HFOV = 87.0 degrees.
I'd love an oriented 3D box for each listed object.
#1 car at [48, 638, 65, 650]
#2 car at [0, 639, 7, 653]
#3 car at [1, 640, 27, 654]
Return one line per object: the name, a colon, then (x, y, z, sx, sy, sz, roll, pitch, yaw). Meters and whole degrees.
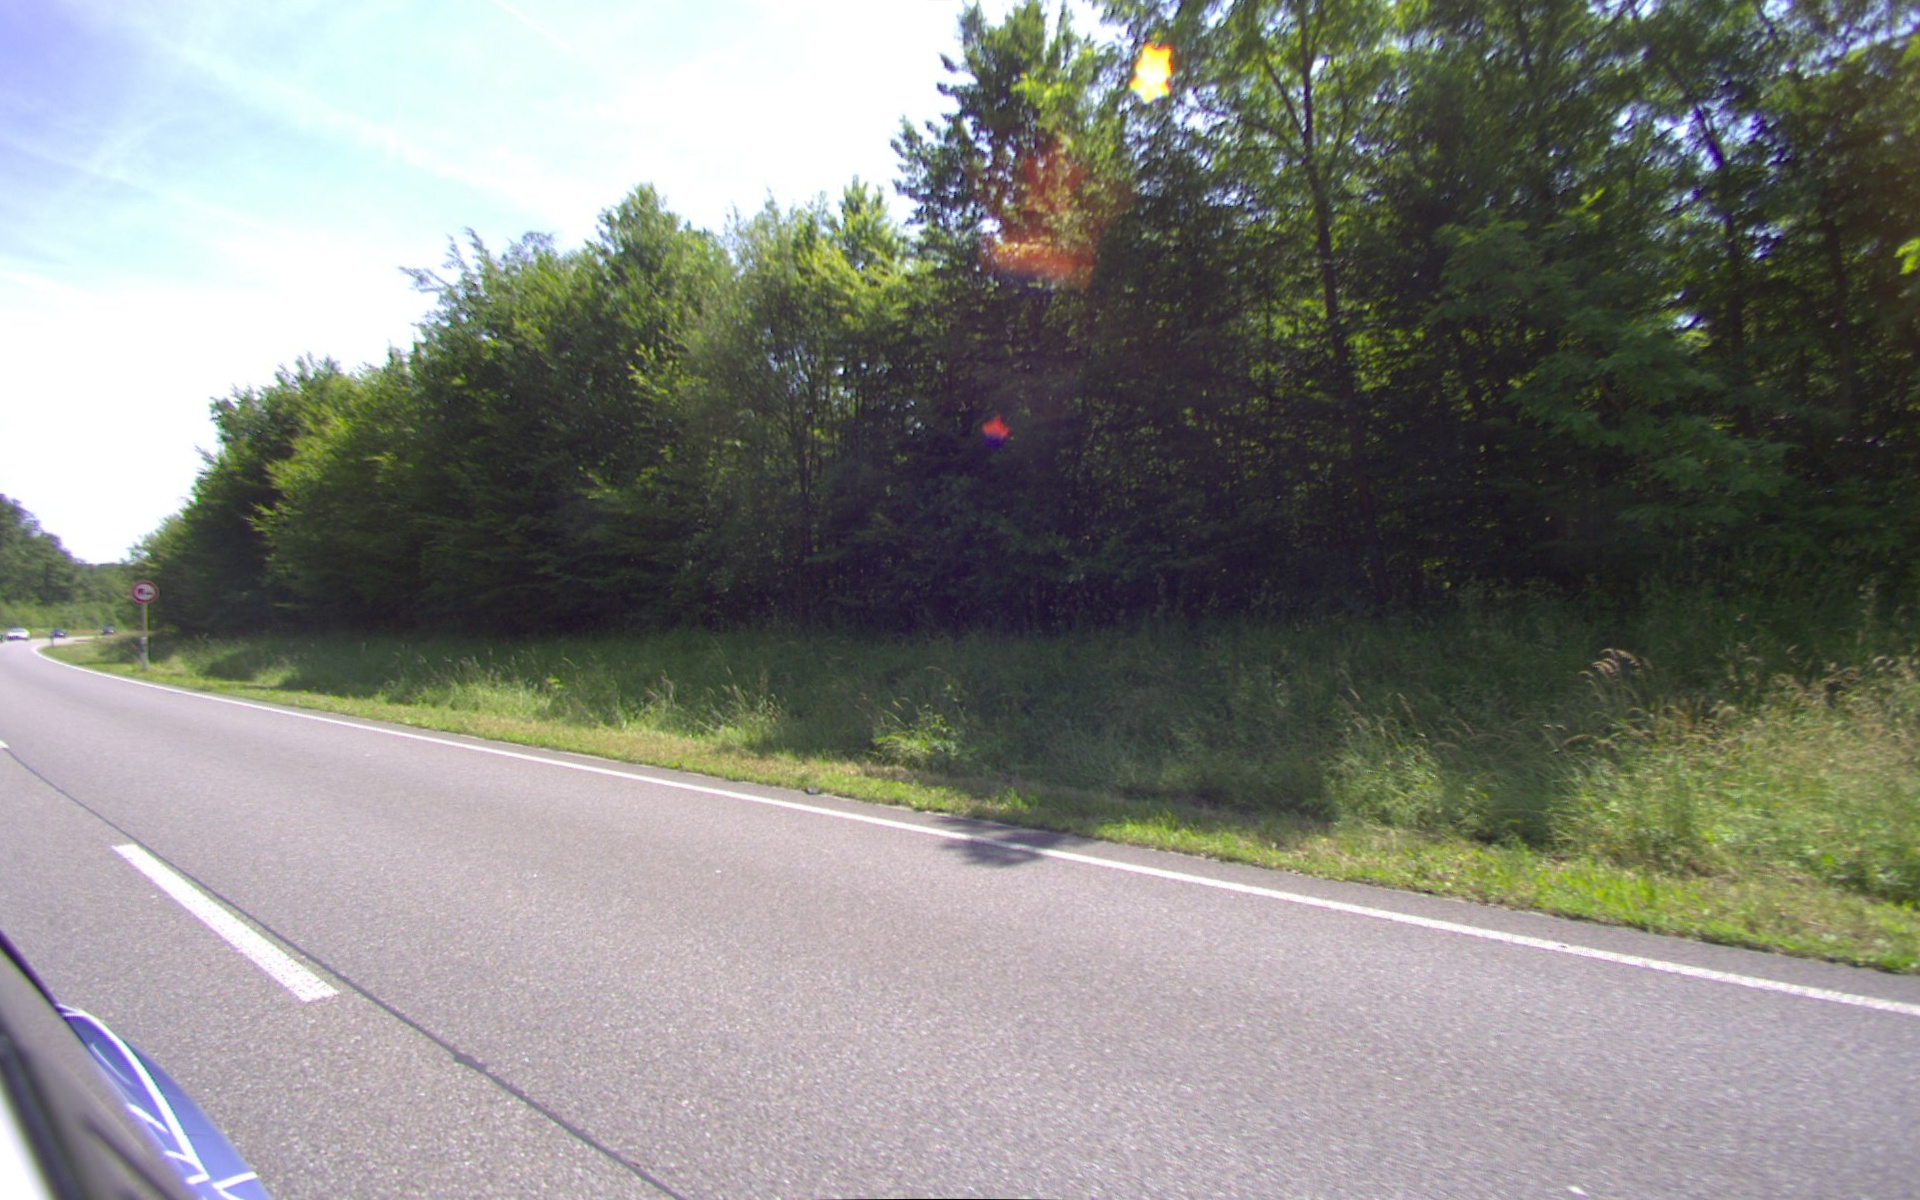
car: (-141.781, 6.886, 158.748, 1.666, 1.741, 4.008, 1, -2, -37)
car: (-104.586, 4.968, 109.576, 1.749, 1.474, 4.007, 1, -2, -40)
car: (-121.680, 5.995, 130.158, 1.988, 1.761, 4.390, 1, -2, -37)
